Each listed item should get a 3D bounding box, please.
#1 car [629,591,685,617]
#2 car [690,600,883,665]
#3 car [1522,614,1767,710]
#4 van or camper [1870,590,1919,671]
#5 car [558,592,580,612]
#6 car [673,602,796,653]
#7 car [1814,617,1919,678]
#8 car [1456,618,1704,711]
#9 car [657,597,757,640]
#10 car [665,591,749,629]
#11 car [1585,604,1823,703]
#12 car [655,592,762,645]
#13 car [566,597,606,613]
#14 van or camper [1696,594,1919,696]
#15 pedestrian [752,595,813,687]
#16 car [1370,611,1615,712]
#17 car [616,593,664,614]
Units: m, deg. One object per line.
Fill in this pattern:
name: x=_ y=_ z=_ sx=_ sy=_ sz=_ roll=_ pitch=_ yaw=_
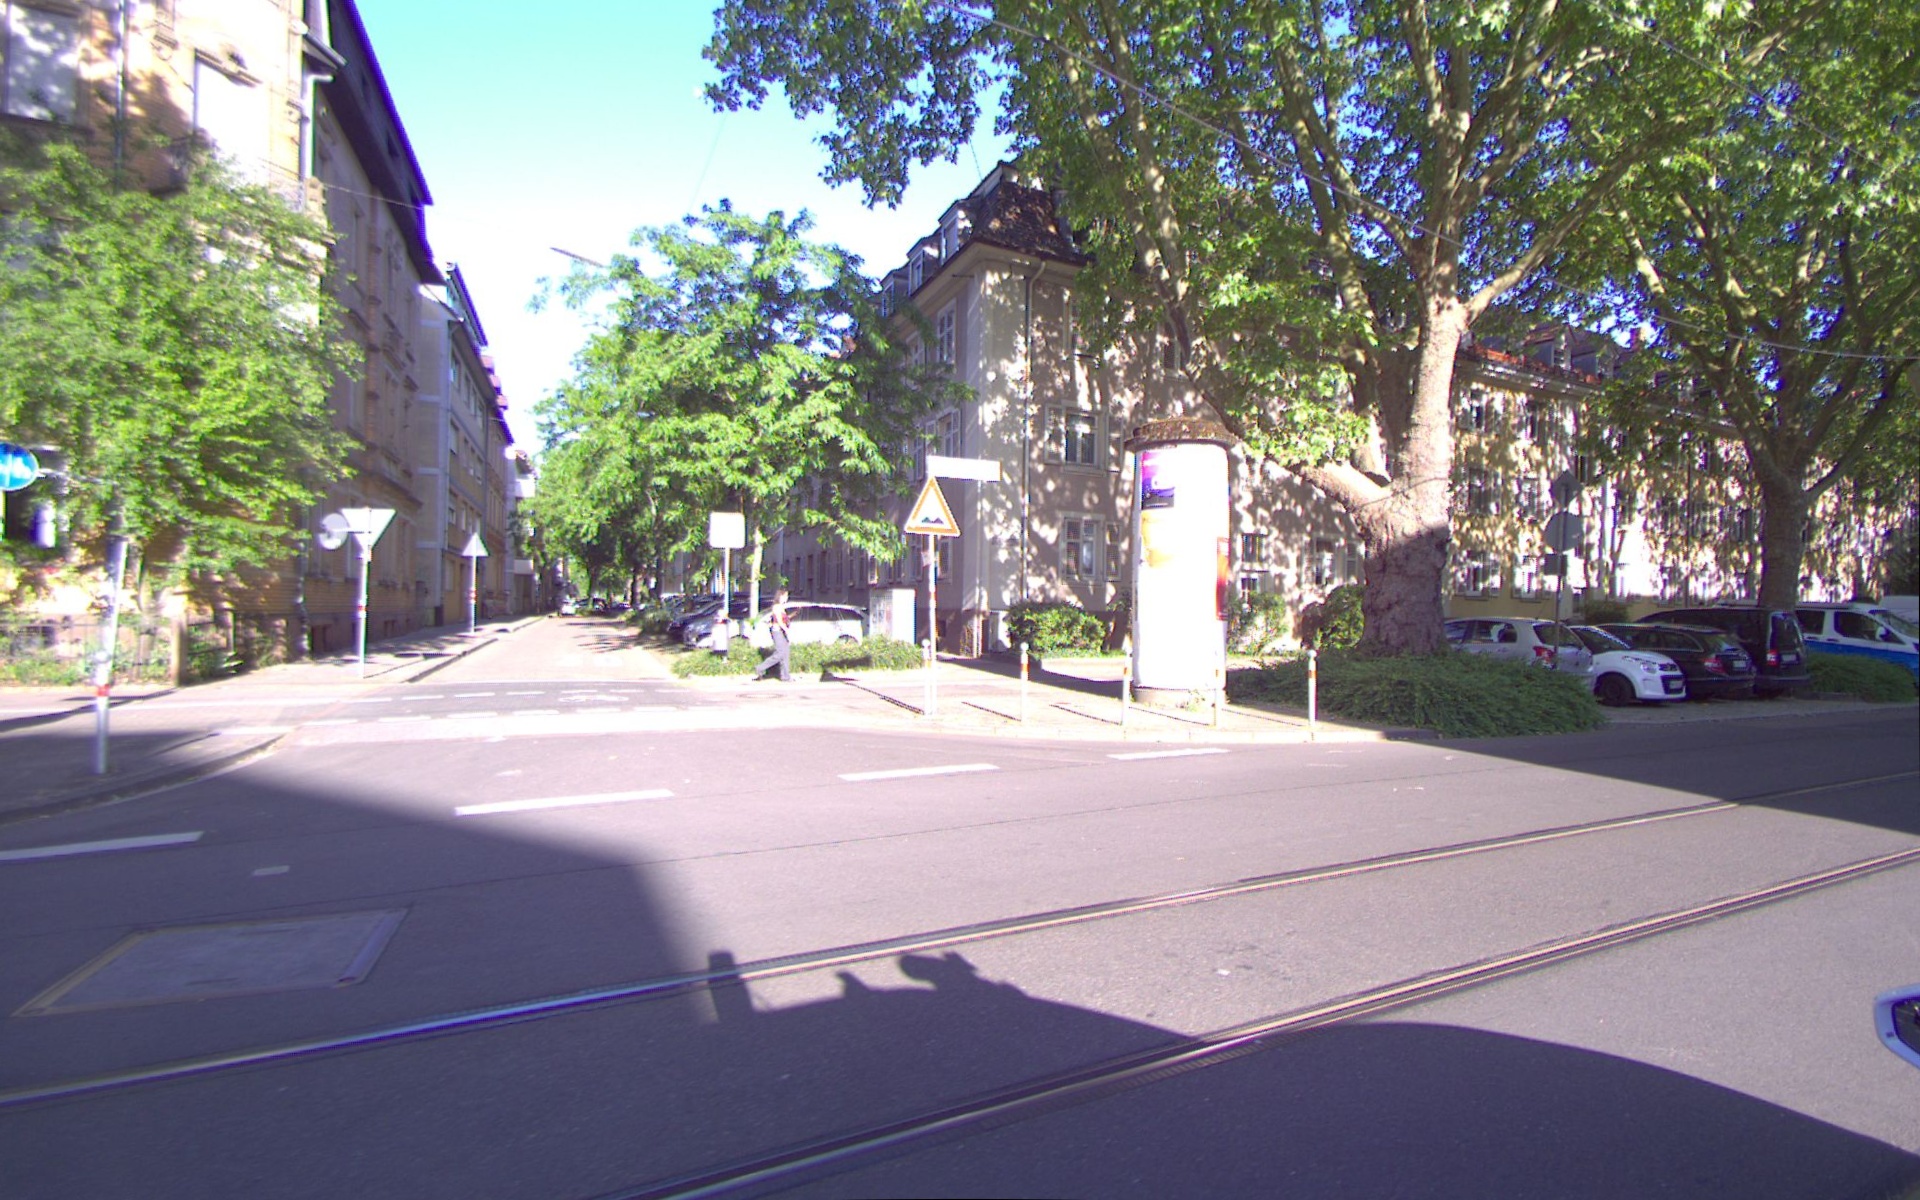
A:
car: x=-19.316 y=0.248 z=64.020 sx=3.299 sy=1.600 sz=1.475 roll=1 pitch=0 yaw=-22
car: x=-4.352 y=0.799 z=25.229 sx=4.543 sy=1.516 sz=1.699 roll=1 pitch=0 yaw=-22
car: x=13.585 y=1.148 z=20.106 sx=1.781 sy=1.646 sz=3.659 roll=1 pitch=0 yaw=-34
van or camper: x=31.996 y=0.996 z=30.946 sx=2.414 sy=2.549 sz=5.368 roll=1 pitch=0 yaw=-27
car: x=-30.253 y=0.158 z=77.720 sx=1.460 sy=1.539 sz=3.050 roll=1 pitch=0 yaw=-20
car: x=-6.569 y=0.794 z=29.272 sx=3.299 sy=1.410 sz=1.475 roll=1 pitch=0 yaw=-22
car: x=26.273 y=1.320 z=27.802 sx=1.592 sy=1.586 sz=3.669 roll=1 pitch=0 yaw=-27
car: x=11.694 y=1.136 z=19.149 sx=1.685 sy=1.505 sz=3.656 roll=1 pitch=0 yaw=-36
car: x=-9.060 y=0.649 z=35.959 sx=3.299 sy=1.481 sz=1.475 roll=1 pitch=0 yaw=-22
car: x=-10.718 y=0.441 z=42.512 sx=3.299 sy=1.539 sz=1.475 roll=1 pitch=0 yaw=-22
car: x=15.521 y=1.039 z=21.148 sx=1.684 sy=1.839 sz=3.665 roll=1 pitch=0 yaw=-30
car: x=-8.399 y=0.618 z=33.574 sx=3.299 sy=1.686 sz=1.475 roll=1 pitch=0 yaw=-22
car: x=-32.902 y=0.436 z=88.432 sx=3.297 sy=1.418 sz=1.476 roll=1 pitch=0 yaw=-21
van or camper: x=21.041 y=1.004 z=24.305 sx=2.096 sy=2.219 sz=4.791 roll=1 pitch=0 yaw=-33
pedestrian: x=-3.236 y=0.724 z=18.243 sx=1.008 sy=1.598 sz=1.092 roll=2 pitch=0 yaw=-12
car: x=9.469 y=1.025 z=18.183 sx=1.680 sy=1.574 sz=3.672 roll=1 pitch=0 yaw=-24
car: x=-23.580 y=0.265 z=74.021 sx=3.299 sy=1.539 sz=1.475 roll=1 pitch=0 yaw=-22
